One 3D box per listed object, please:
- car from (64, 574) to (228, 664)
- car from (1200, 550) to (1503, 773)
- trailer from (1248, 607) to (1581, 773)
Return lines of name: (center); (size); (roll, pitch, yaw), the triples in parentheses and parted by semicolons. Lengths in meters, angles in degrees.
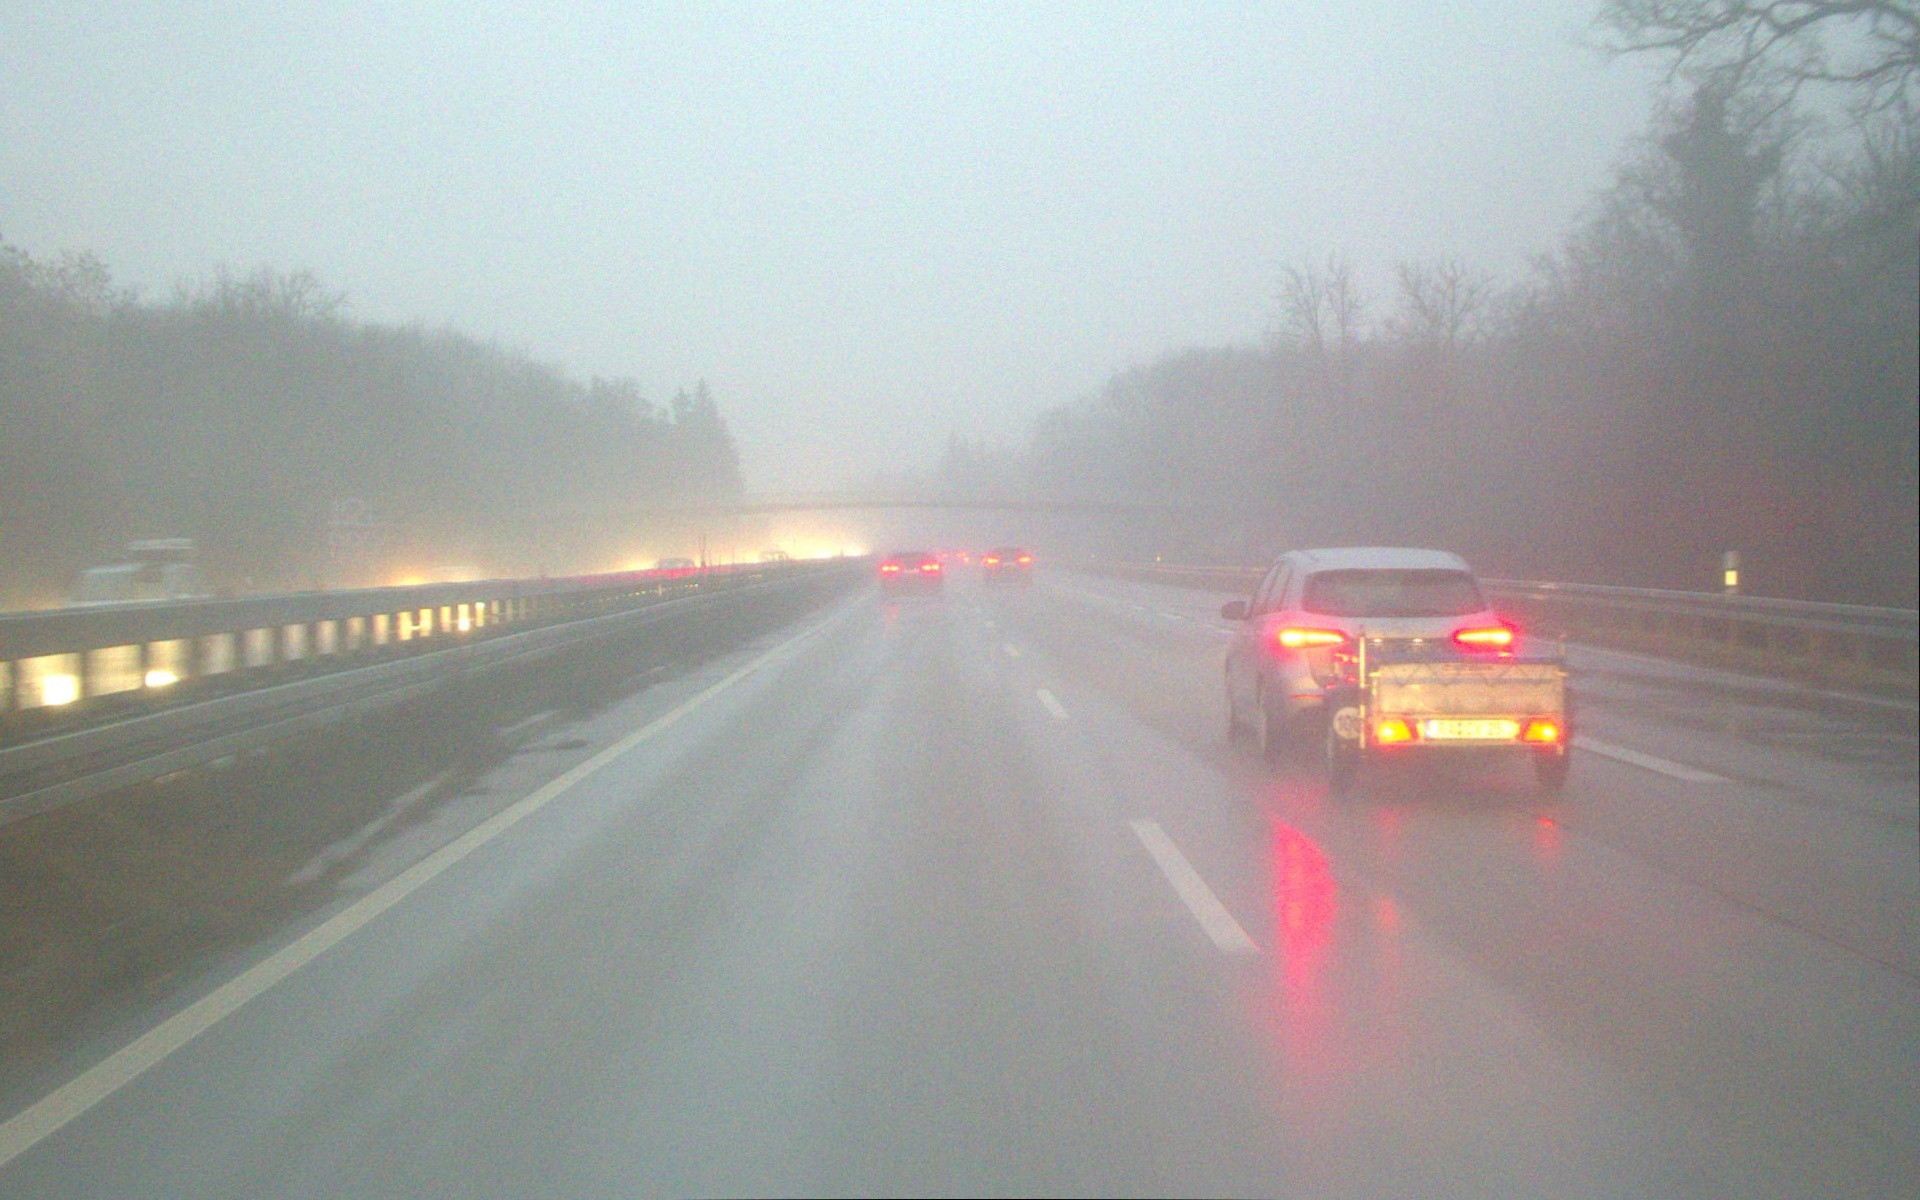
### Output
car: (-13.233, 0.284, 56.104); (1.704, 1.347, 4.157); (-1, 1, -1)
car: (2.883, 0.405, 26.047); (1.786, 1.511, 3.811); (-2, 1, -1)
trailer: (2.922, 0.557, 22.647); (1.748, 0.922, 2.951); (-2, 1, -1)
